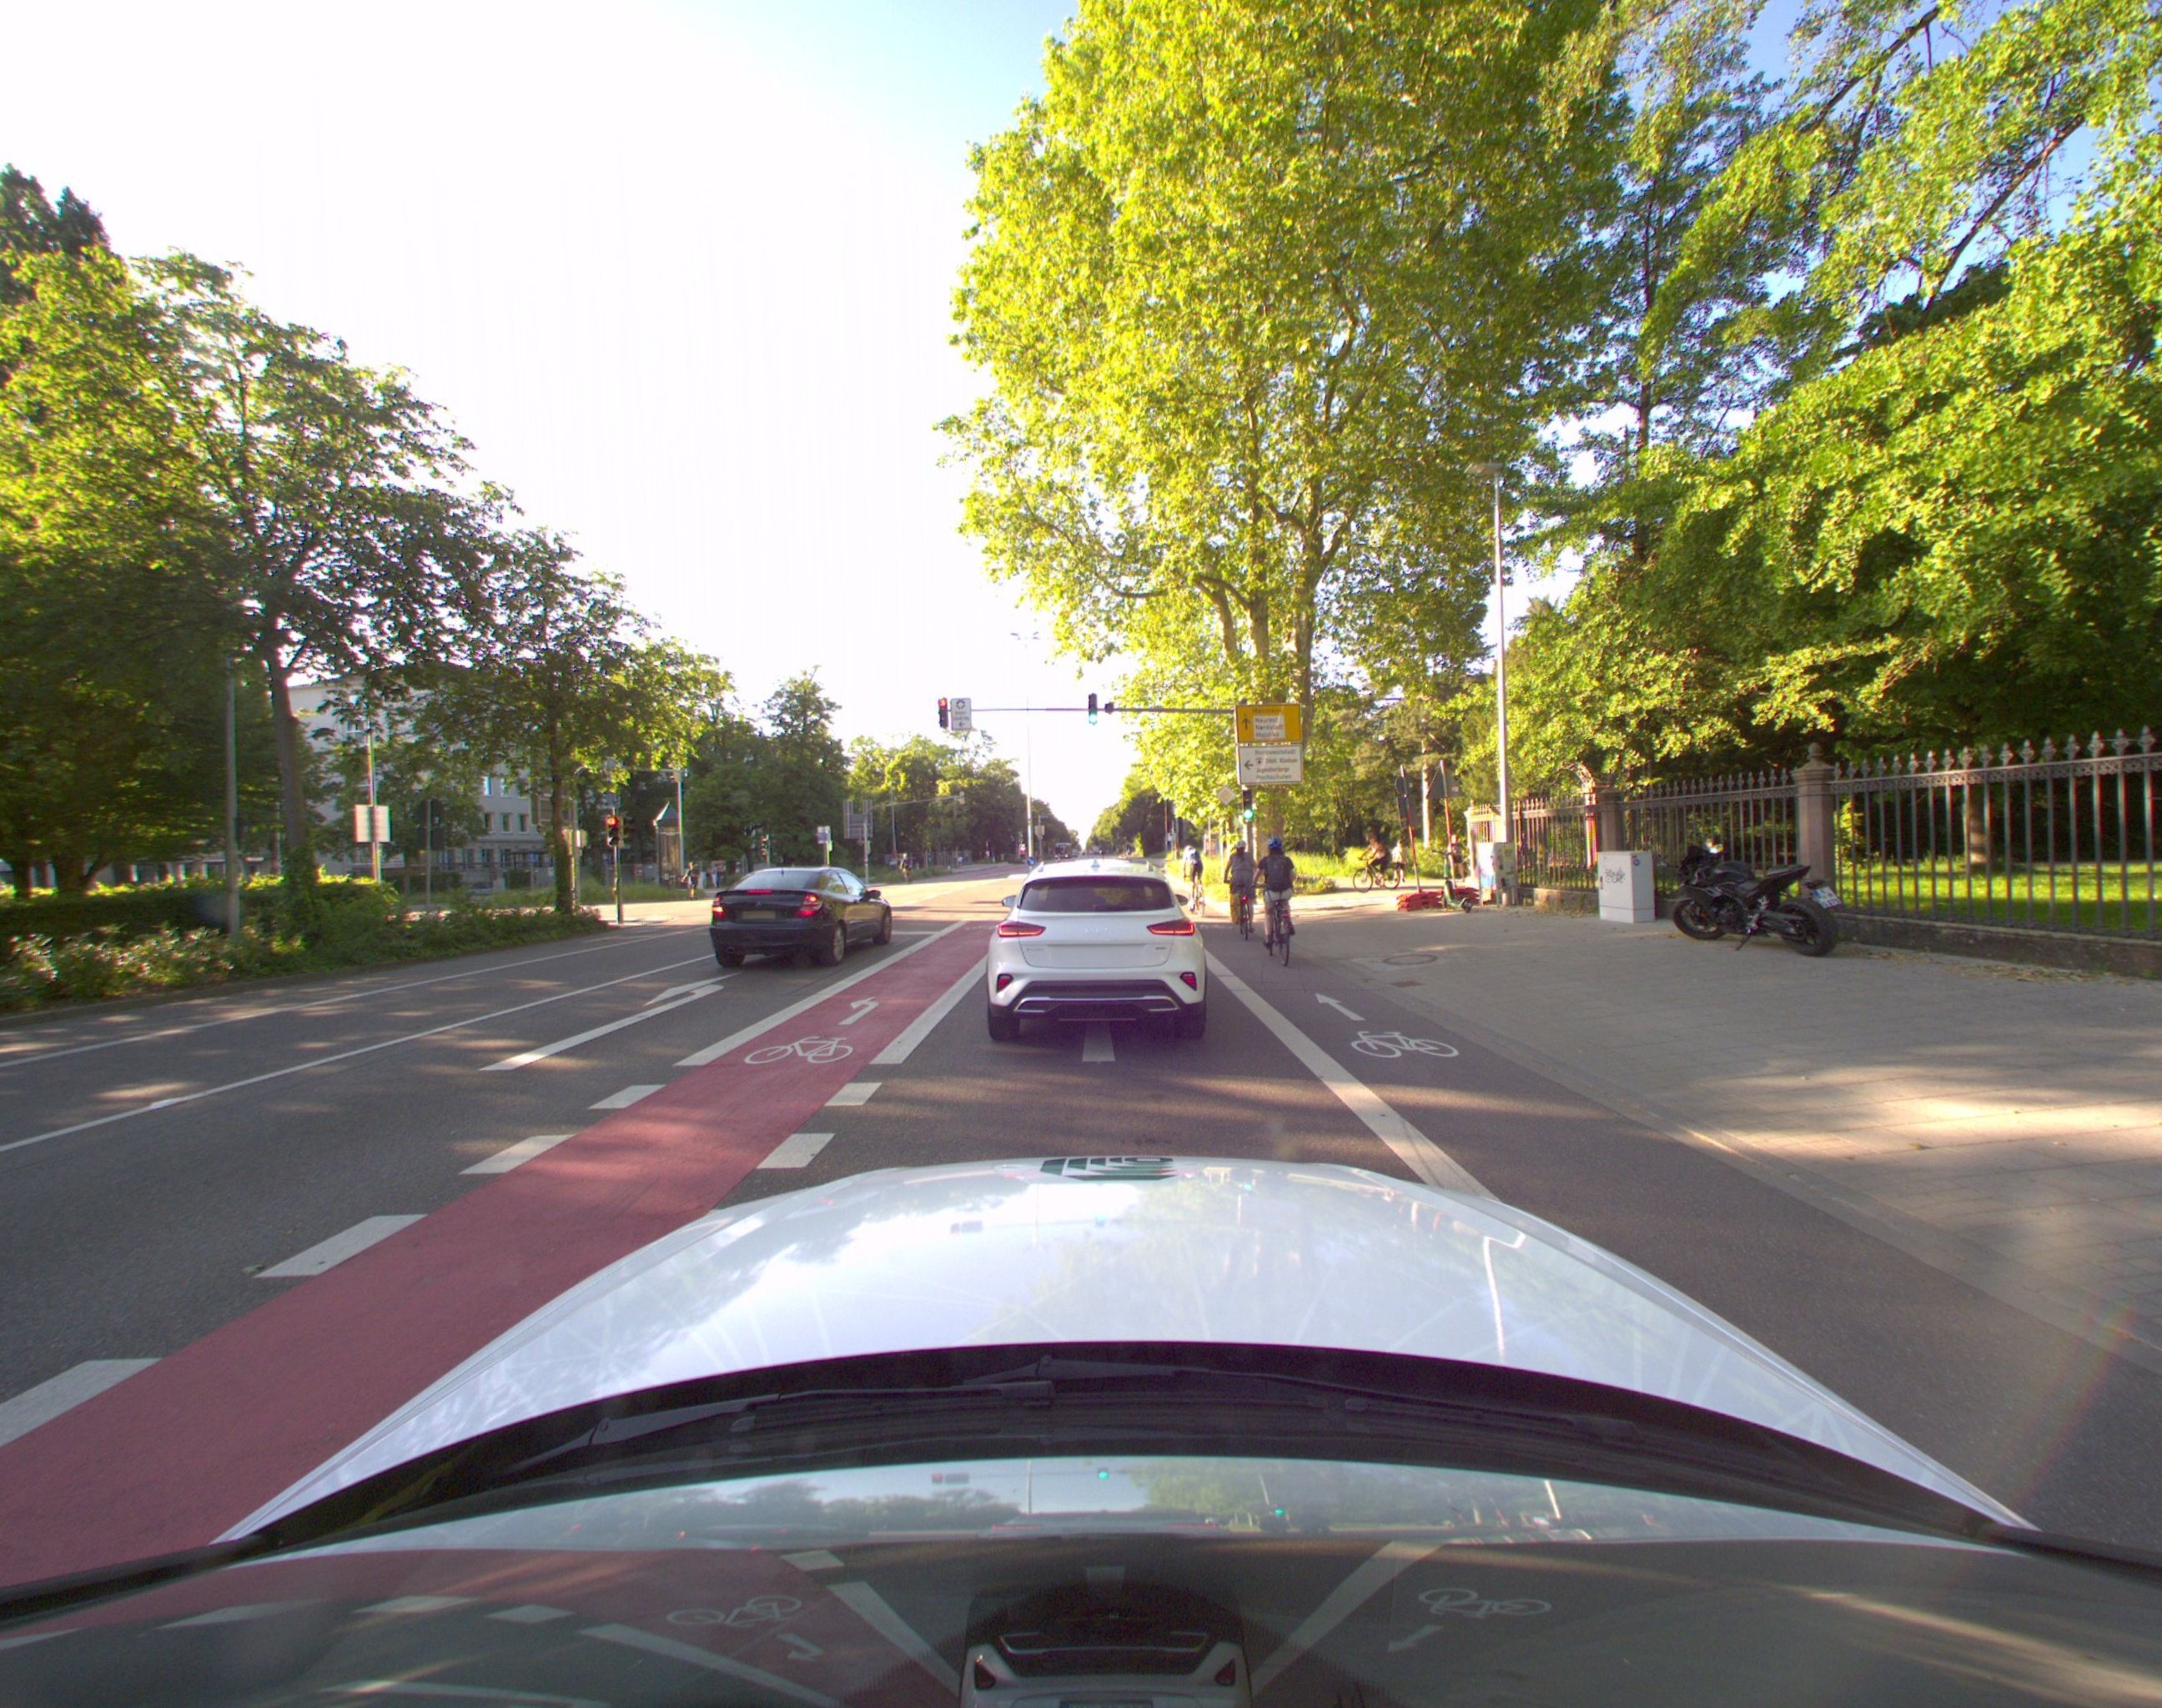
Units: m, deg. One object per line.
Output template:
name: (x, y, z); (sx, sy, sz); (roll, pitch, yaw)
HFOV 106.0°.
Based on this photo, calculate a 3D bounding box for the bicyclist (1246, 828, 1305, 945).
bicyclist: (2.741, 0.449, 11.547); (0.663, 1.602, 0.721); (-1, 0, 0)

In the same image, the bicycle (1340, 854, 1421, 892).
bicycle: (8.727, 0.539, 23.764); (2.094, 0.976, 0.747); (-3, 0, -11)

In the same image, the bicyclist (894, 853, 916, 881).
bicyclist: (-10.607, 0.751, 49.104); (0.871, 1.608, 1.189); (-3, 0, 4)

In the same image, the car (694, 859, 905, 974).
car: (-4.209, 0.845, 12.960); (1.698, 1.405, 4.266); (-3, 0, 2)

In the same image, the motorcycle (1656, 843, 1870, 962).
motorcycle: (7.427, 0.479, 9.036); (0.504, 1.131, 2.170); (-4, 0, 0)

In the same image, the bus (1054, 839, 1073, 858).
bus: (-3.795, -1.132, 175.167); (3.731, 3.673, 13.234); (-2, 0, -1)

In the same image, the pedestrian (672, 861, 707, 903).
pedestrian: (-18.994, 1.344, 39.527); (0.990, 2.014, 1.193); (-1, -1, 7)

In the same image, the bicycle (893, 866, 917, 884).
bicycle: (-10.586, 1.256, 49.063); (0.660, 0.989, 2.507); (-3, 0, 4)

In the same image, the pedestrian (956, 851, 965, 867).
pedestrian: (-14.040, 0.610, 94.893); (0.782, 1.785, 0.751); (-1, -1, 2)

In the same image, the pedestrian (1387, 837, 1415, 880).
pedestrian: (11.495, 0.172, 29.231); (0.810, 1.518, 0.922); (-1, -1, 28)

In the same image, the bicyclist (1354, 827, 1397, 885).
bicyclist: (8.588, 0.053, 23.743); (0.847, 1.613, 0.733); (-3, 0, -11)

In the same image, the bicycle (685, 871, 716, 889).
bicycle: (-25.642, 1.773, 54.862); (1.859, 1.148, 0.442); (-1, -1, -6)

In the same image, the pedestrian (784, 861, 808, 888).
pedestrian: (-17.322, 1.238, 49.523); (1.086, 1.603, 0.999); (-3, 0, -5)

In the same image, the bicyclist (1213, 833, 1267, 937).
bicyclist: (2.856, 0.529, 14.692); (0.750, 1.795, 1.165); (0, 0, 0)

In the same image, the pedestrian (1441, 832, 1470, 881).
pedestrian: (13.107, 0.088, 28.534); (0.686, 1.699, 0.644); (-1, -1, 1)

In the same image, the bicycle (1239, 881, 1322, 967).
bicycle: (2.746, 0.932, 11.437); (0.666, 1.009, 2.081); (-1, 0, 0)

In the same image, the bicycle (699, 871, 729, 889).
bicycle: (-24.592, 1.740, 54.564); (1.859, 1.148, 0.290); (-1, -1, -6)

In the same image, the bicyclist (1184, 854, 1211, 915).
bicyclist: (2.869, 0.743, 20.142); (0.552, 1.478, 0.717); (-1, -1, 1)

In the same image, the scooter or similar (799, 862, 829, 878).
scooter or similar: (-18.639, 1.119, 56.908); (0.703, 1.124, 1.933); (-1, -1, 34)

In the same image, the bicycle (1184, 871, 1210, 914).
bicycle: (2.855, 0.937, 20.091); (0.400, 0.956, 1.552); (-5, 0, 2)

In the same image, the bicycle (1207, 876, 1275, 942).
bicycle: (2.861, 0.956, 14.811); (0.755, 1.013, 2.569); (0, 0, 0)

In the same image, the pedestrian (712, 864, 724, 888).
pedestrian: (-24.225, 1.495, 54.380); (0.628, 1.580, 0.444); (-1, -1, -8)

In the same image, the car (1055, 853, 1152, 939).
car: (0.417, 0.761, 16.679); (1.723, 1.483, 3.516); (-3, 0, 0)

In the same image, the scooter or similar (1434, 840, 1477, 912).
scooter or similar: (7.196, 0.397, 15.674); (0.227, 1.327, 1.172); (-3, 0, 0)

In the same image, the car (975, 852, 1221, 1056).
car: (0.145, 0.747, 8.094); (1.815, 1.480, 3.936); (-1, 0, 0)
